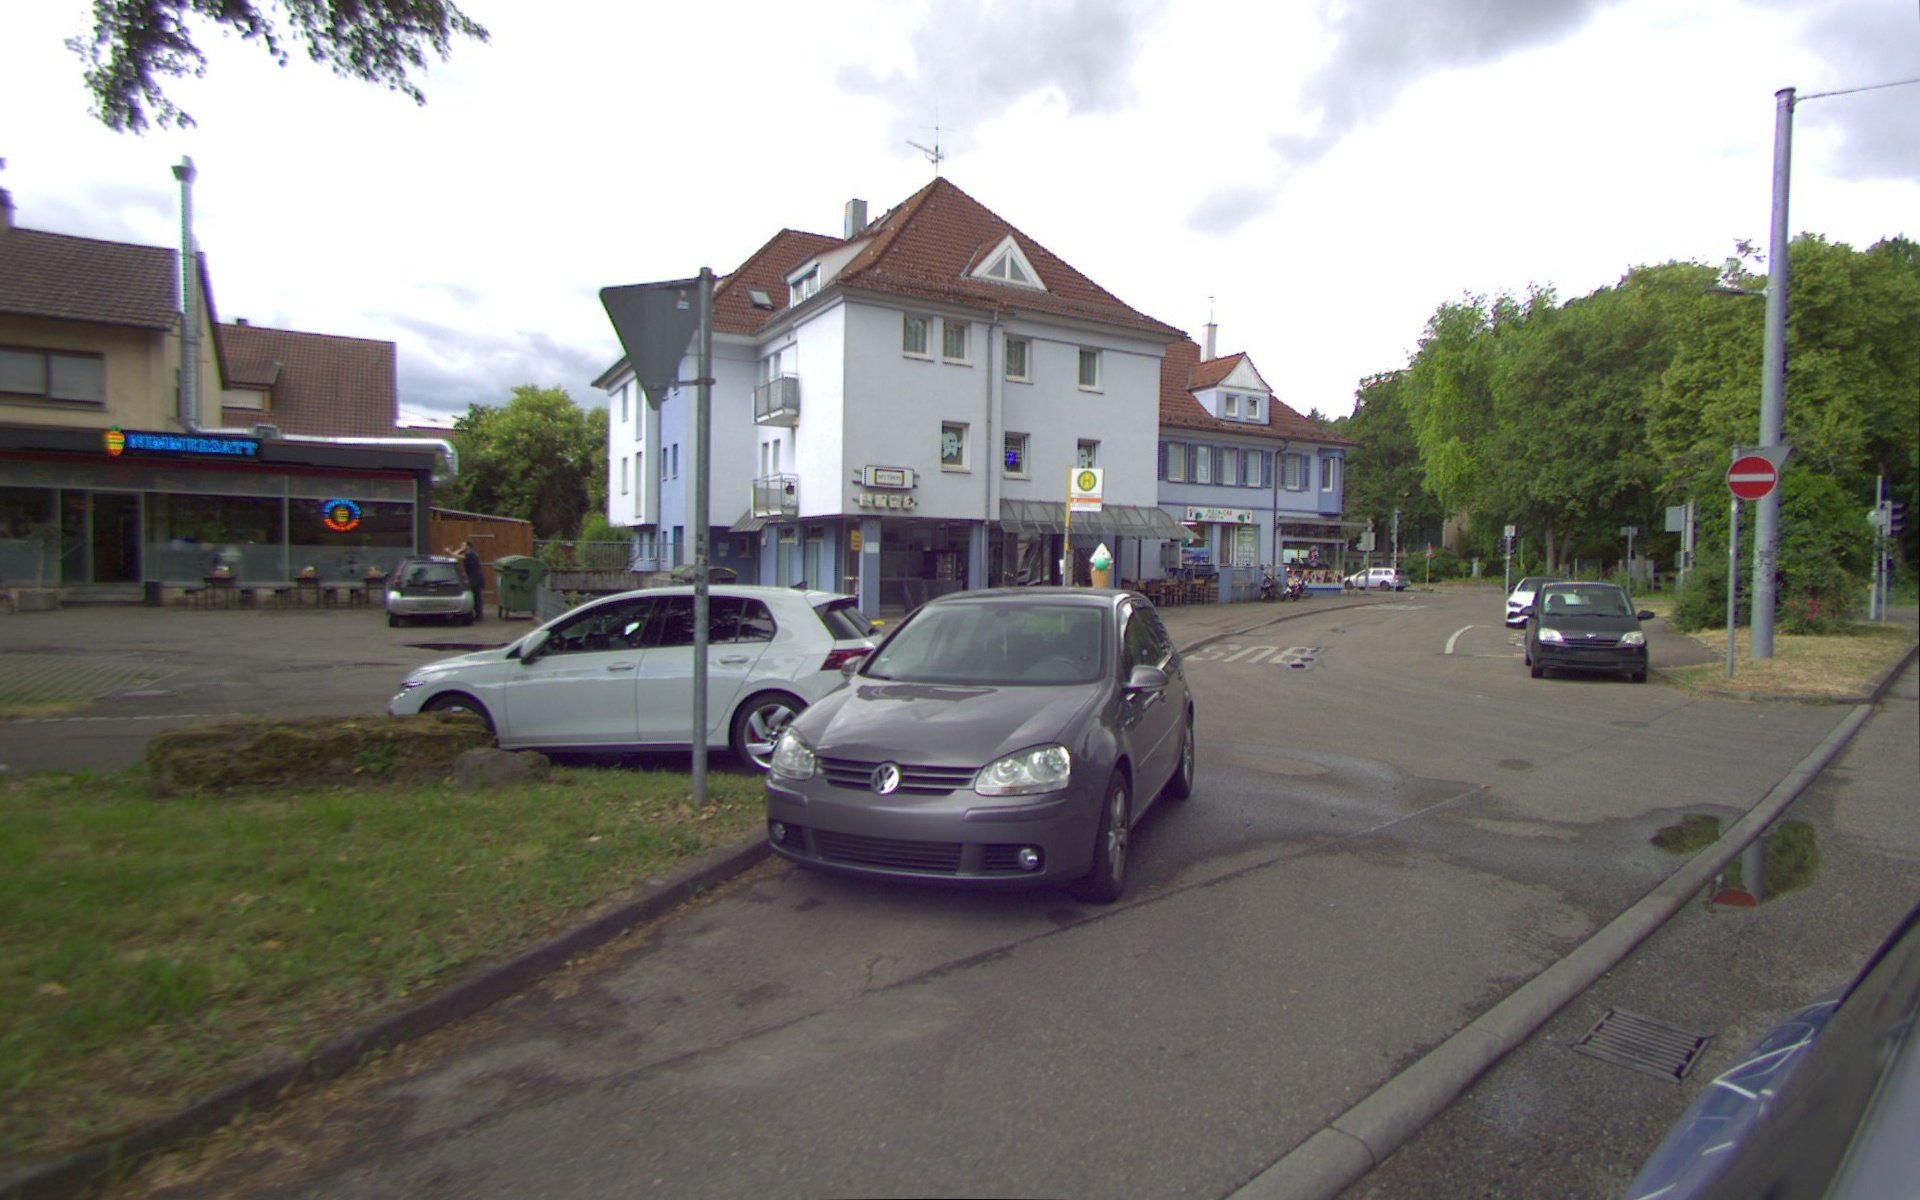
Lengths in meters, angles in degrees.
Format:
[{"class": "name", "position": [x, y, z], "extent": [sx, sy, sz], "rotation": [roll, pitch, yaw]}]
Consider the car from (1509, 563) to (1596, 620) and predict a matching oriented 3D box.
[{"class": "car", "position": [17.051, -0.326, 29.148], "extent": [1.984, 1.403, 4.738], "rotation": [2, 4, 31]}]

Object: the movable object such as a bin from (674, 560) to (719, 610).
[{"class": "movable object such as a bin", "position": [-7.749, -0.454, 29.777], "extent": [1.072, 1.412, 1.221], "rotation": [-1, 3, -25]}]

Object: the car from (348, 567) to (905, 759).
[{"class": "car", "position": [-2.674, 0.437, 8.656], "extent": [4.187, 1.397, 1.762], "rotation": [1, 2, 6]}]

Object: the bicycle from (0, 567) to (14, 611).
[{"class": "bicycle", "position": [-20.640, -0.258, 21.293], "extent": [1.946, 0.886, 0.409], "rotation": [2, 2, 26]}]

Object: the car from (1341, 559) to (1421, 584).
[{"class": "car", "position": [26.975, -1.849, 64.993], "extent": [1.862, 1.473, 4.553], "rotation": [-1, 3, -29]}]

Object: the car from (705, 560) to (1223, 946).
[{"class": "car", "position": [0.423, 0.546, 6.057], "extent": [1.713, 1.447, 4.082], "rotation": [1, 1, 22]}]

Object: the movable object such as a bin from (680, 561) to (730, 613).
[{"class": "movable object such as a bin", "position": [-7.211, -0.384, 28.577], "extent": [1.137, 1.412, 1.221], "rotation": [-1, 3, -25]}]

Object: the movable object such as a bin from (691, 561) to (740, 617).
[{"class": "movable object such as a bin", "position": [-6.610, -0.311, 27.352], "extent": [1.072, 1.433, 1.221], "rotation": [-1, 3, -25]}]

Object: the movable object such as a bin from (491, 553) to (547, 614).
[{"class": "movable object such as a bin", "position": [-10.279, -0.416, 23.594], "extent": [0.976, 1.361, 1.221], "rotation": [-1, 3, -35]}]

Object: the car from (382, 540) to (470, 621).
[{"class": "car", "position": [-11.865, -0.497, 22.499], "extent": [1.592, 1.650, 3.431], "rotation": [-1, 3, -28]}]

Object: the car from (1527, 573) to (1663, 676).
[{"class": "car", "position": [9.982, 0.289, 16.106], "extent": [1.559, 1.421, 3.460], "rotation": [2, 2, 28]}]

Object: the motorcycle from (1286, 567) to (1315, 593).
[{"class": "motorcycle", "position": [13.851, -0.812, 41.107], "extent": [0.519, 0.997, 1.798], "rotation": [2, 3, 39]}]

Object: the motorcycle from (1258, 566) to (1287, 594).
[{"class": "motorcycle", "position": [12.147, -0.782, 39.314], "extent": [0.487, 1.044, 1.701], "rotation": [2, 3, 39]}]

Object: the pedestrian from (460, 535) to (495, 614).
[{"class": "pedestrian", "position": [-10.921, -0.593, 22.893], "extent": [0.600, 1.750, 0.689], "rotation": [-1, 3, -35]}]
